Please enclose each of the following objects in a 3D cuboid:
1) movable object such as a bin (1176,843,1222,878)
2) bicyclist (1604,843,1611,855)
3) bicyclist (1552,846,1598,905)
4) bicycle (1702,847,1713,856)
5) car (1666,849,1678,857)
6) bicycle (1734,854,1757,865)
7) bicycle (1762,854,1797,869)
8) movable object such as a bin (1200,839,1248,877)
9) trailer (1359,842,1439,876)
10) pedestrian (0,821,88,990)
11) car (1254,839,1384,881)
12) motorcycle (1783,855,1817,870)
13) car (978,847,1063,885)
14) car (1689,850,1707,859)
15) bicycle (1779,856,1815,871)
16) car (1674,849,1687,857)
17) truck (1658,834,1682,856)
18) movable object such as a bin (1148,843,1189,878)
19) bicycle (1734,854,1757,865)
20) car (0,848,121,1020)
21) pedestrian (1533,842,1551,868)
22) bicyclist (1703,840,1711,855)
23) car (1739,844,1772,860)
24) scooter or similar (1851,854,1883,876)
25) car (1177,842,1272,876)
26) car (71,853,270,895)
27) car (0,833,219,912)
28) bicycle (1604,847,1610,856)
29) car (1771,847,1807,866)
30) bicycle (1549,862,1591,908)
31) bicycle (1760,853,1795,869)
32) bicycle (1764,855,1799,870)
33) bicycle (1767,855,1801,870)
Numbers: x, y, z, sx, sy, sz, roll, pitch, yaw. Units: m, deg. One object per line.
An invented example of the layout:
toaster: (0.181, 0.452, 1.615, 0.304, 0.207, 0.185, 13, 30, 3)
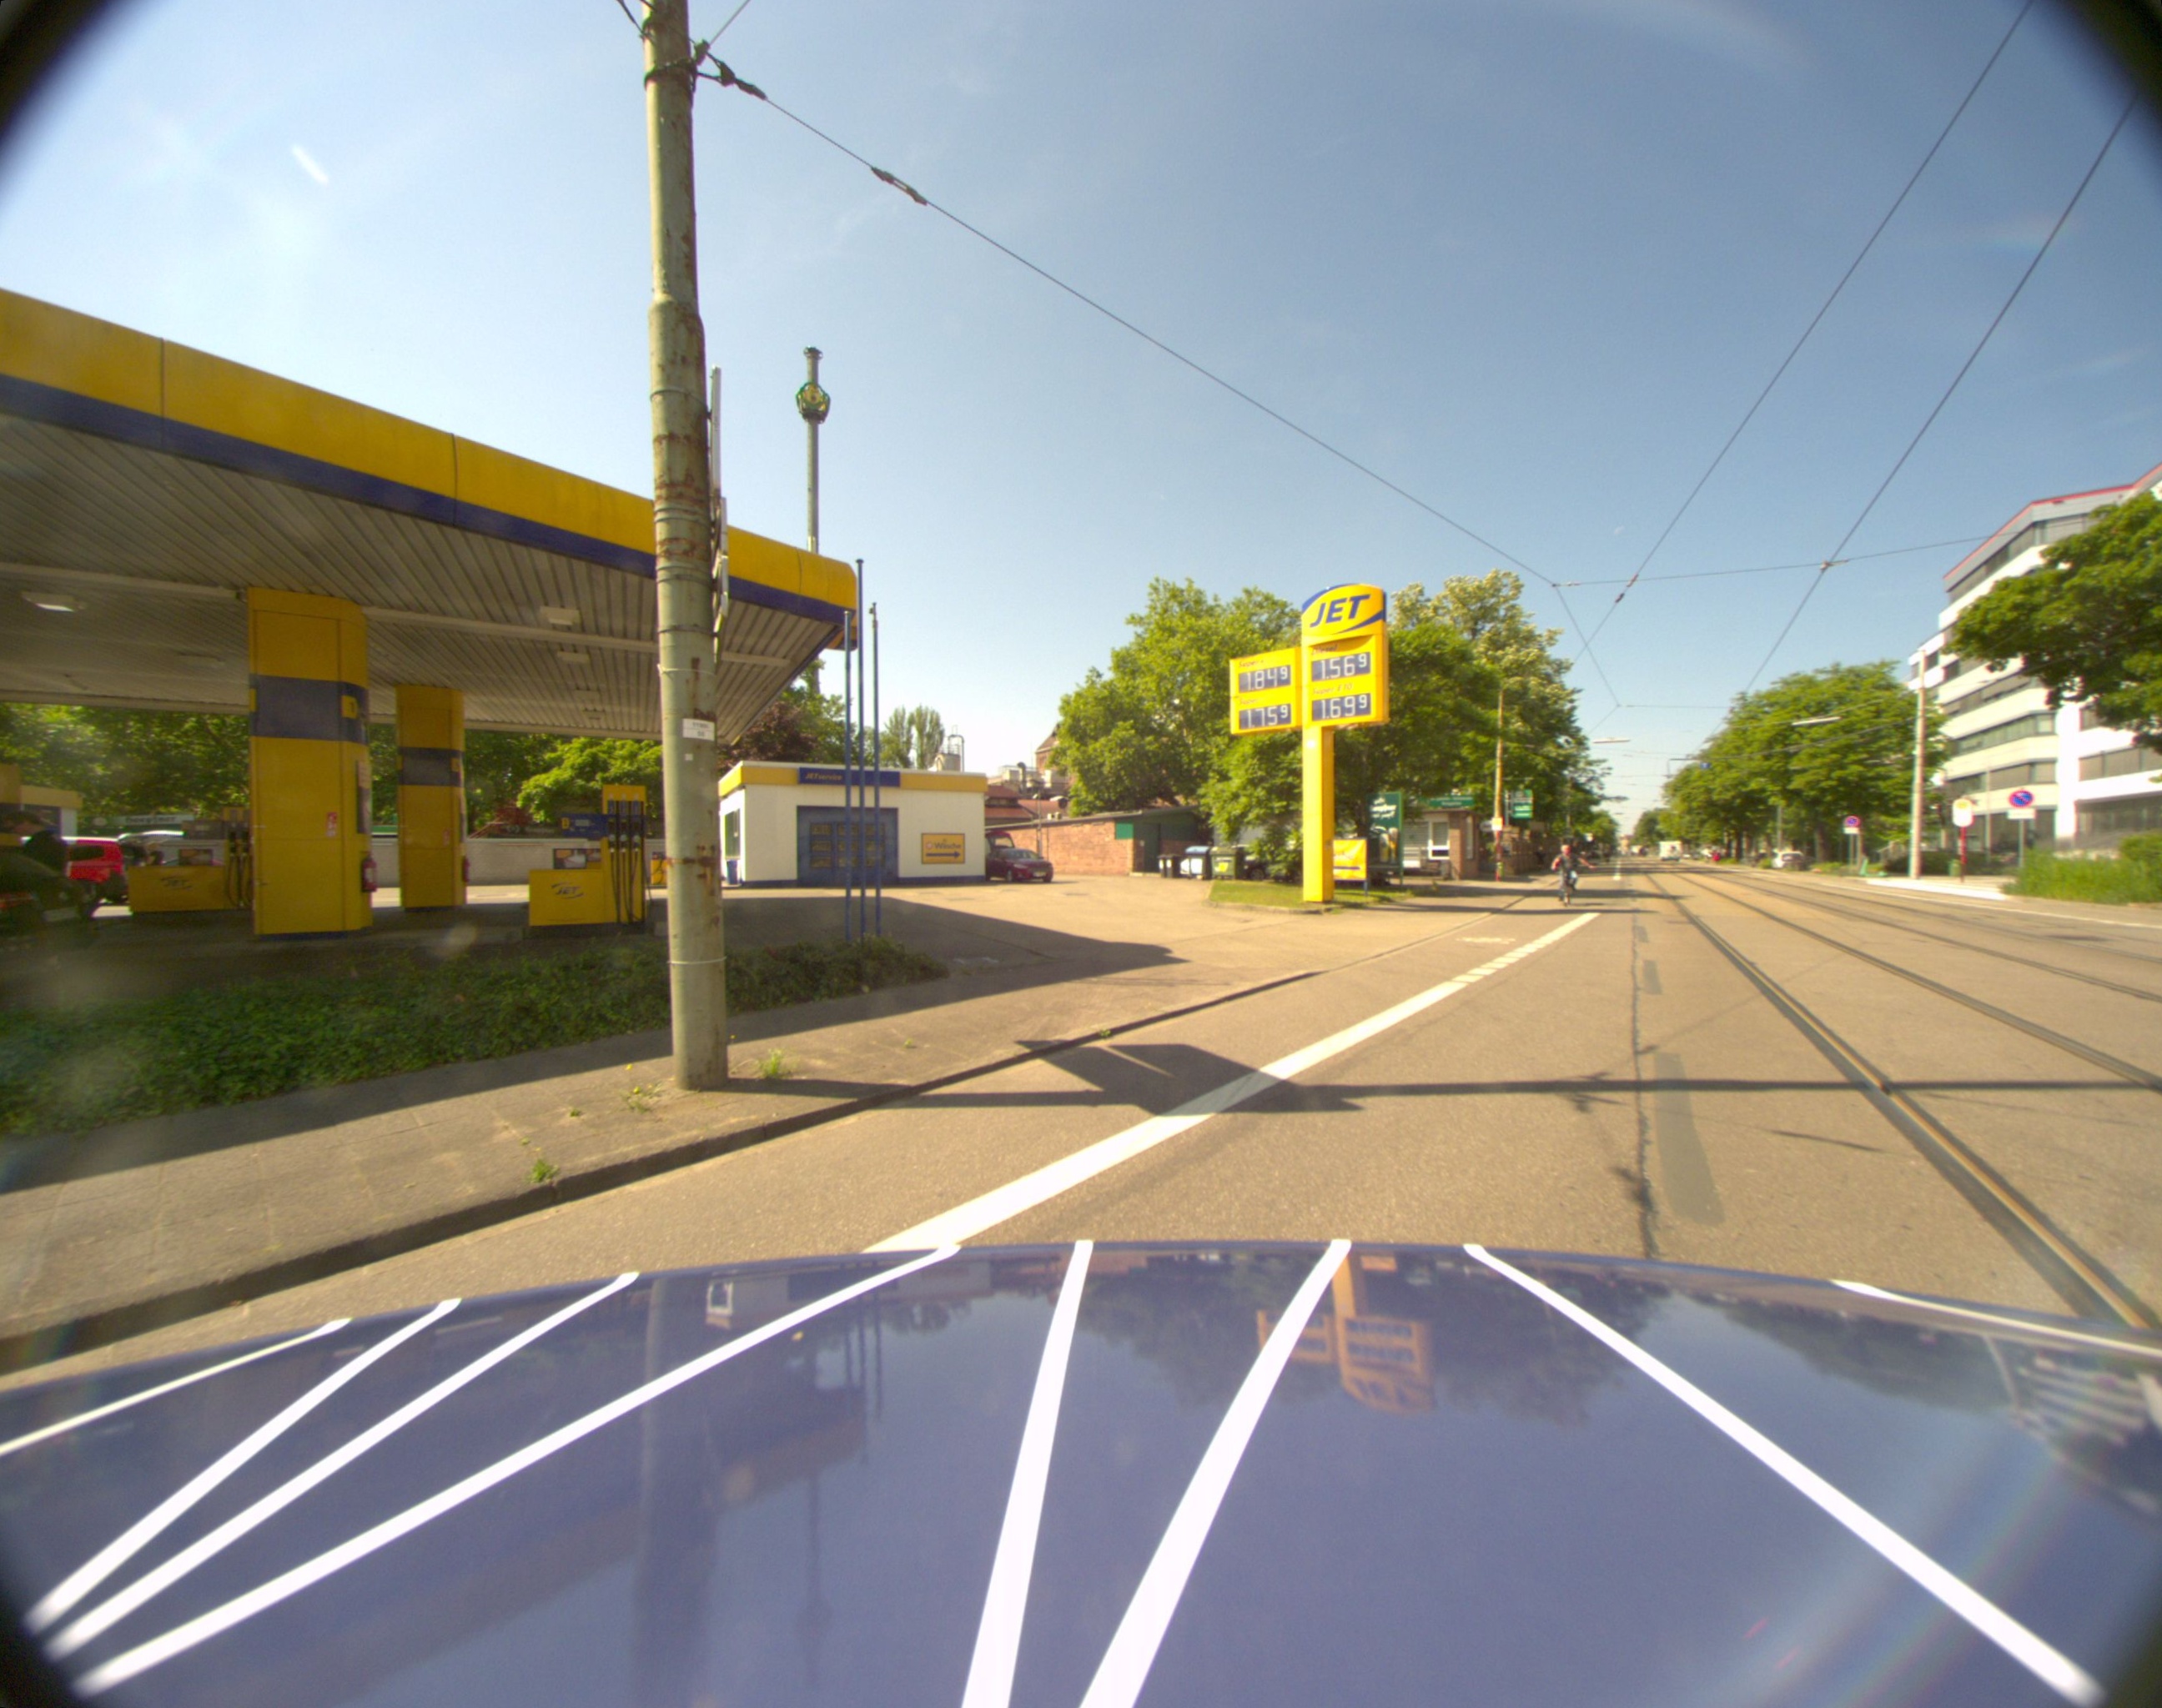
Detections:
movable object such as a bin: (5.103, 0.256, 32.804, 1.382, 1.494, 1.418, -1, 1, -39)
bicyclist: (66.638, -0.606, 96.213, 0.740, 1.522, 0.949, 0, 1, 36)
bicyclist: (13.812, 0.576, 21.248, 0.904, 1.586, 0.966, 0, 1, 43)
bicycle: (74.406, -0.324, 90.264, 0.856, 1.104, 2.144, 0, 1, 35)
car: (112.790, -0.188, 145.031, 1.630, 1.463, 4.122, 0, 0, 35)
bicycle: (68.591, 0.548, 78.445, 1.725, 1.080, 0.479, 0, 1, 35)
bicycle: (53.098, 0.567, 57.782, 1.873, 1.135, 0.687, 0, 1, 35)
movable object such as a bin: (5.863, 0.158, 31.155, 1.418, 1.494, 1.382, 0, 1, 39)
trailer: (15.505, 0.201, 37.081, 3.275, 1.594, 1.727, 1, 1, 37)
pedestrian: (-11.245, 0.521, 8.105, 0.856, 1.715, 0.746, 1, 1, 38)
car: (9.649, 0.222, 30.992, 4.661, 1.631, 2.018, 0, 1, -11)
motorcycle: (51.609, 0.623, 54.554, 1.725, 1.080, 0.660, 0, 1, 35)
car: (-2.688, 0.446, 32.693, 1.895, 1.452, 4.545, -2, 2, -29)
car: (91.174, 0.084, 112.259, 1.630, 1.347, 3.909, 0, 0, 33)
bicycle: (49.928, 0.652, 53.023, 1.725, 1.080, 0.791, 0, 1, 35)
car: (102.880, -0.191, 130.429, 1.630, 1.463, 4.122, 0, 0, 35)
truck: (86.364, -1.288, 111.498, 2.403, 3.091, 6.049, 1, 1, 35)
movable object such as a bin: (3.945, 0.293, 34.337, 1.333, 1.493, 1.327, -1, 0, -26)
bicycle: (68.215, 0.545, 78.026, 1.725, 1.080, 0.616, 0, 1, 35)
car: (-11.996, 0.763, 6.419, 4.416, 1.448, 1.756, -2, 4, -31)
pedestrian: (32.465, 0.035, 53.536, 0.977, 1.805, 1.187, 1, 1, 36)
bicyclist: (74.501, -0.783, 90.445, 0.636, 1.860, 1.026, 0, 1, 35)
car: (63.399, -0.217, 71.471, 1.630, 1.475, 4.281, 0, 1, 33)
scooter or similar: (42.806, 0.591, 41.412, 1.126, 1.160, 0.677, 0, 1, 38)
car: (6.726, 0.212, 35.863, 4.001, 1.548, 1.845, 0, 1, -11)
car: (-32.060, 0.666, 26.957, 4.139, 1.352, 1.757, 0, 1, -32)
car: (-27.081, 0.455, 20.121, 5.317, 1.971, 1.756, 0, 1, -34)
bicycle: (66.490, -0.315, 95.968, 0.592, 1.099, 2.058, 0, 1, 36)
car: (56.686, 0.206, 60.881, 1.630, 1.463, 3.638, 1, 1, 36)
bicycle: (13.746, 0.860, 21.339, 0.610, 1.190, 2.127, -3, -1, 42)
bicycle: (53.437, 0.544, 58.336, 1.905, 1.163, 0.820, 0, 1, 35)
bicycle: (52.710, 0.619, 57.225, 1.849, 1.125, 0.682, 0, 1, 35)
bicycle: (51.868, 0.628, 56.082, 1.725, 1.080, 0.641, 0, 1, 35)
